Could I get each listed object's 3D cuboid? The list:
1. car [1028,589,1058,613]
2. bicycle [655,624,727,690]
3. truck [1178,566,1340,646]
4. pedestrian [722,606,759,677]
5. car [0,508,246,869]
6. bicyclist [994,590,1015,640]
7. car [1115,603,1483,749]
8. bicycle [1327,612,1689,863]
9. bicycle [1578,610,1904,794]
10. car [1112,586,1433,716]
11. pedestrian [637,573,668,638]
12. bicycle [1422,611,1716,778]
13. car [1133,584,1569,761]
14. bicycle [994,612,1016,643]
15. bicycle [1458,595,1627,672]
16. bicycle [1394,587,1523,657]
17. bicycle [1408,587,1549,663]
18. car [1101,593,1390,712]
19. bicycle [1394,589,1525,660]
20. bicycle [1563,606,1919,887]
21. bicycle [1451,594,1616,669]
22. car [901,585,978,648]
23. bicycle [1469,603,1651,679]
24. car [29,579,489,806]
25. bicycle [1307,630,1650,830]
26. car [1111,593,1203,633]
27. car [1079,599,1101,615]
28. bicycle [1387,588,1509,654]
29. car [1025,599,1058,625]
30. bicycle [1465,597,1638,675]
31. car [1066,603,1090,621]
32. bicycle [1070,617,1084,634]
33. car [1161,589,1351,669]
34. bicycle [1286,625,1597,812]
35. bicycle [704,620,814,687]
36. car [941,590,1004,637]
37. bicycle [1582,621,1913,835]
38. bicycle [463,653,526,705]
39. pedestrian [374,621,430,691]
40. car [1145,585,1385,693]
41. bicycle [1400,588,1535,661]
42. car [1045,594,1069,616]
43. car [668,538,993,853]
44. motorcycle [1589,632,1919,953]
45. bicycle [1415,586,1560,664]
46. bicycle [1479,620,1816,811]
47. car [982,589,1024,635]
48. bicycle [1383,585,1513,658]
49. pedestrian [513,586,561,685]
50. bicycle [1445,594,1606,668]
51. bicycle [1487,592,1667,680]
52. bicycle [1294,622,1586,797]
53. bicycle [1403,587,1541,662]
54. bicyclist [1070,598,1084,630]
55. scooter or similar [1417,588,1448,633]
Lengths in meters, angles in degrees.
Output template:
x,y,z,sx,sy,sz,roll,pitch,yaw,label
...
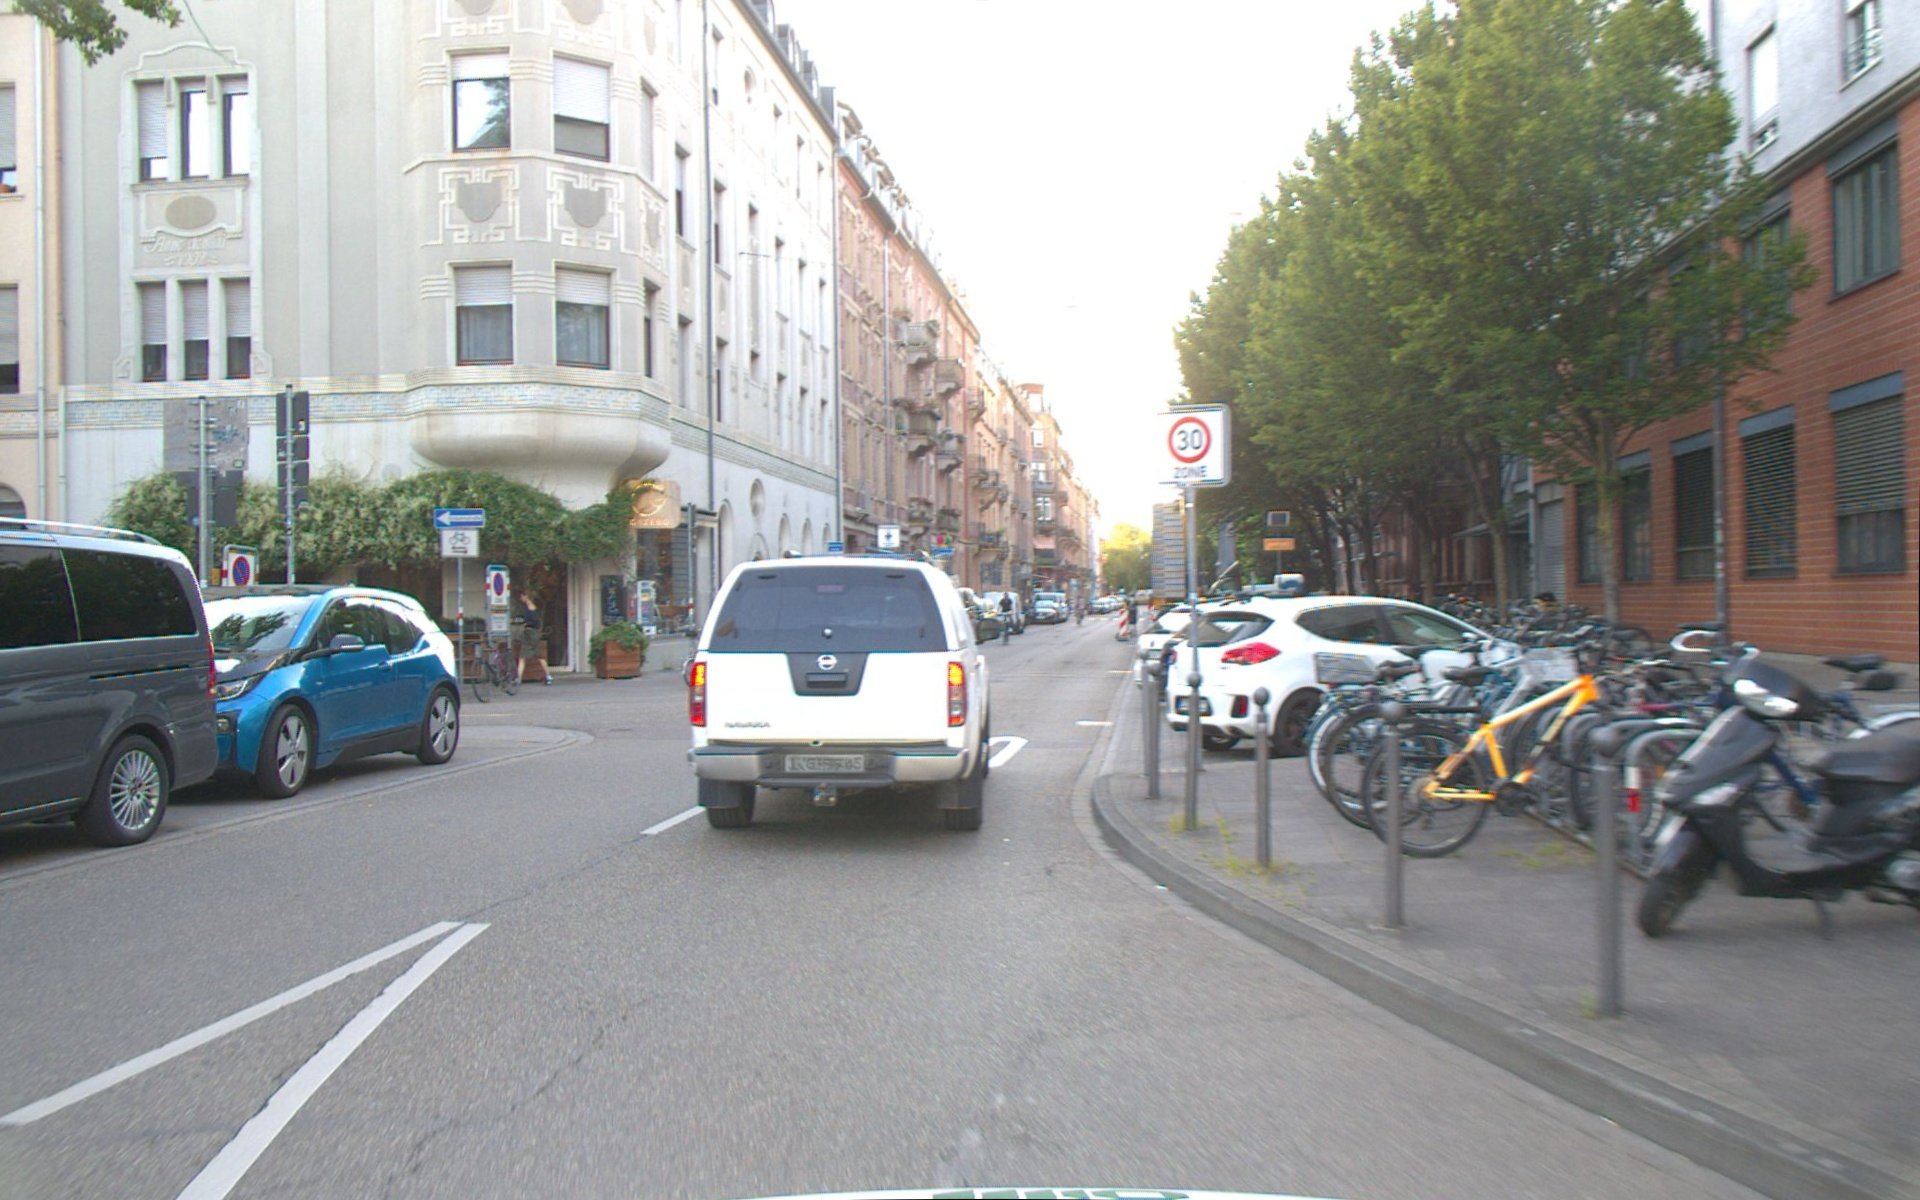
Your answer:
x,y,z,sx,sy,sz,roll,pitch,yaw,label
5.427,0.050,108.003,1.673,1.557,4.003,0,0,6,car
-4.586,0.960,28.297,0.414,1.030,1.719,0,1,20,bicycle
11.727,0.271,65.236,6.185,3.029,2.265,0,-3,8,truck
-4.220,0.801,31.832,0.526,1.348,0.705,0,0,7,pedestrian
-6.073,0.476,8.479,1.951,1.899,5.294,-1,0,8,car
1.558,0.522,57.514,0.590,1.714,1.143,-1,0,7,bicyclist
4.004,0.849,19.520,3.939,1.499,1.859,-1,-2,-27,car
2.816,0.701,8.598,1.671,1.196,0.472,-3,0,5,bicycle
5.075,0.657,10.820,1.818,1.084,0.524,-3,0,5,bicycle
4.163,0.649,22.028,3.935,1.549,1.697,-1,-2,-25,car
-6.628,0.118,35.697,0.527,1.374,0.519,0,0,7,pedestrian
4.357,0.671,11.916,1.871,1.084,0.524,-3,0,5,bicycle
3.865,0.650,16.379,3.933,1.533,1.758,-1,0,-23,car
1.562,0.950,57.545,0.601,1.058,1.905,-1,0,6,bicycle
9.348,0.534,26.620,2.480,1.187,0.562,-1,0,9,bicycle
10.338,0.451,34.381,2.480,1.403,0.600,-1,0,9,bicycle
9.871,0.474,31.560,2.480,1.403,0.600,-1,0,9,bicycle
4.180,0.712,24.148,3.935,1.564,1.623,-1,0,-25,car
10.160,0.495,33.689,2.480,1.403,0.600,-1,0,9,bicycle
3.926,0.672,7.856,1.820,1.166,0.659,-4,0,6,bicycle
9.421,0.522,27.249,2.480,1.187,0.562,-1,0,9,bicycle
-0.609,0.524,53.884,1.864,1.959,4.950,0,0,7,car
9.172,0.621,25.369,2.481,0.976,0.680,-4,-1,9,bicycle
-5.509,0.648,13.605,1.605,1.583,4.007,-1,0,9,car
3.007,0.753,9.703,1.818,1.056,0.472,-3,0,5,bicycle
9.141,0.587,76.708,4.105,1.811,1.821,0,0,12,car
13.386,0.713,169.798,1.807,1.579,4.359,-1,0,10,car
10.725,0.460,36.398,2.480,1.403,0.600,-1,0,9,bicycle
5.038,0.705,101.997,1.753,1.557,4.003,0,0,7,car
9.276,0.562,26.008,2.480,1.187,0.562,-1,0,9,bicycle
10.983,1.103,153.880,1.807,1.579,4.359,-1,0,9,car
6.889,1.512,97.259,0.783,0.963,2.006,0,0,4,bicycle
6.828,0.656,38.281,3.919,1.665,1.752,-2,0,-13,car
3.056,0.749,10.602,1.818,1.084,0.446,-3,0,5,bicycle
-3.561,0.928,29.243,2.071,1.114,0.500,0,1,32,bicycle
0.502,0.483,62.053,1.951,1.681,4.003,-1,0,6,car
4.234,0.682,8.957,1.507,1.056,0.472,-3,0,5,bicycle
-7.597,1.273,27.060,0.414,0.708,1.780,-1,2,4,bicycle
-10.130,1.012,30.029,0.676,1.235,0.779,-1,0,7,pedestrian
4.976,0.607,26.969,3.551,1.608,1.701,-1,0,-27,car
10.084,0.495,32.939,2.480,1.403,0.600,-1,0,9,bicycle
7.375,0.374,125.590,1.808,1.579,4.357,-1,0,4,car
-0.719,0.589,12.051,1.893,1.826,4.622,-1,-1,1,car
3.472,0.731,6.621,1.611,1.121,0.647,-3,0,-2,motorcycle
9.816,0.472,30.846,2.480,1.403,0.600,-1,0,9,bicycle
4.158,0.698,10.076,1.818,1.056,0.402,-3,0,5,bicycle
1.927,0.514,73.270,1.526,1.955,3.859,1,0,6,car
10.350,0.454,35.126,2.481,1.266,0.600,-6,-1,9,bicycle
-7.400,0.616,28.921,0.611,1.704,0.559,0,0,-44,pedestrian
9.504,0.518,27.855,2.480,1.187,0.562,-1,0,9,bicycle
8.988,0.524,24.174,2.297,1.118,0.680,-4,-1,9,bicycle
3.252,0.743,11.304,1.818,1.084,0.446,-3,0,5,bicycle
9.944,0.470,32.190,2.480,1.403,0.600,-1,0,9,bicycle
6.887,0.839,97.174,0.783,1.882,0.944,0,0,4,bicyclist
13.411,0.286,46.898,0.362,1.239,1.700,-4,-2,30,scooter or similar
